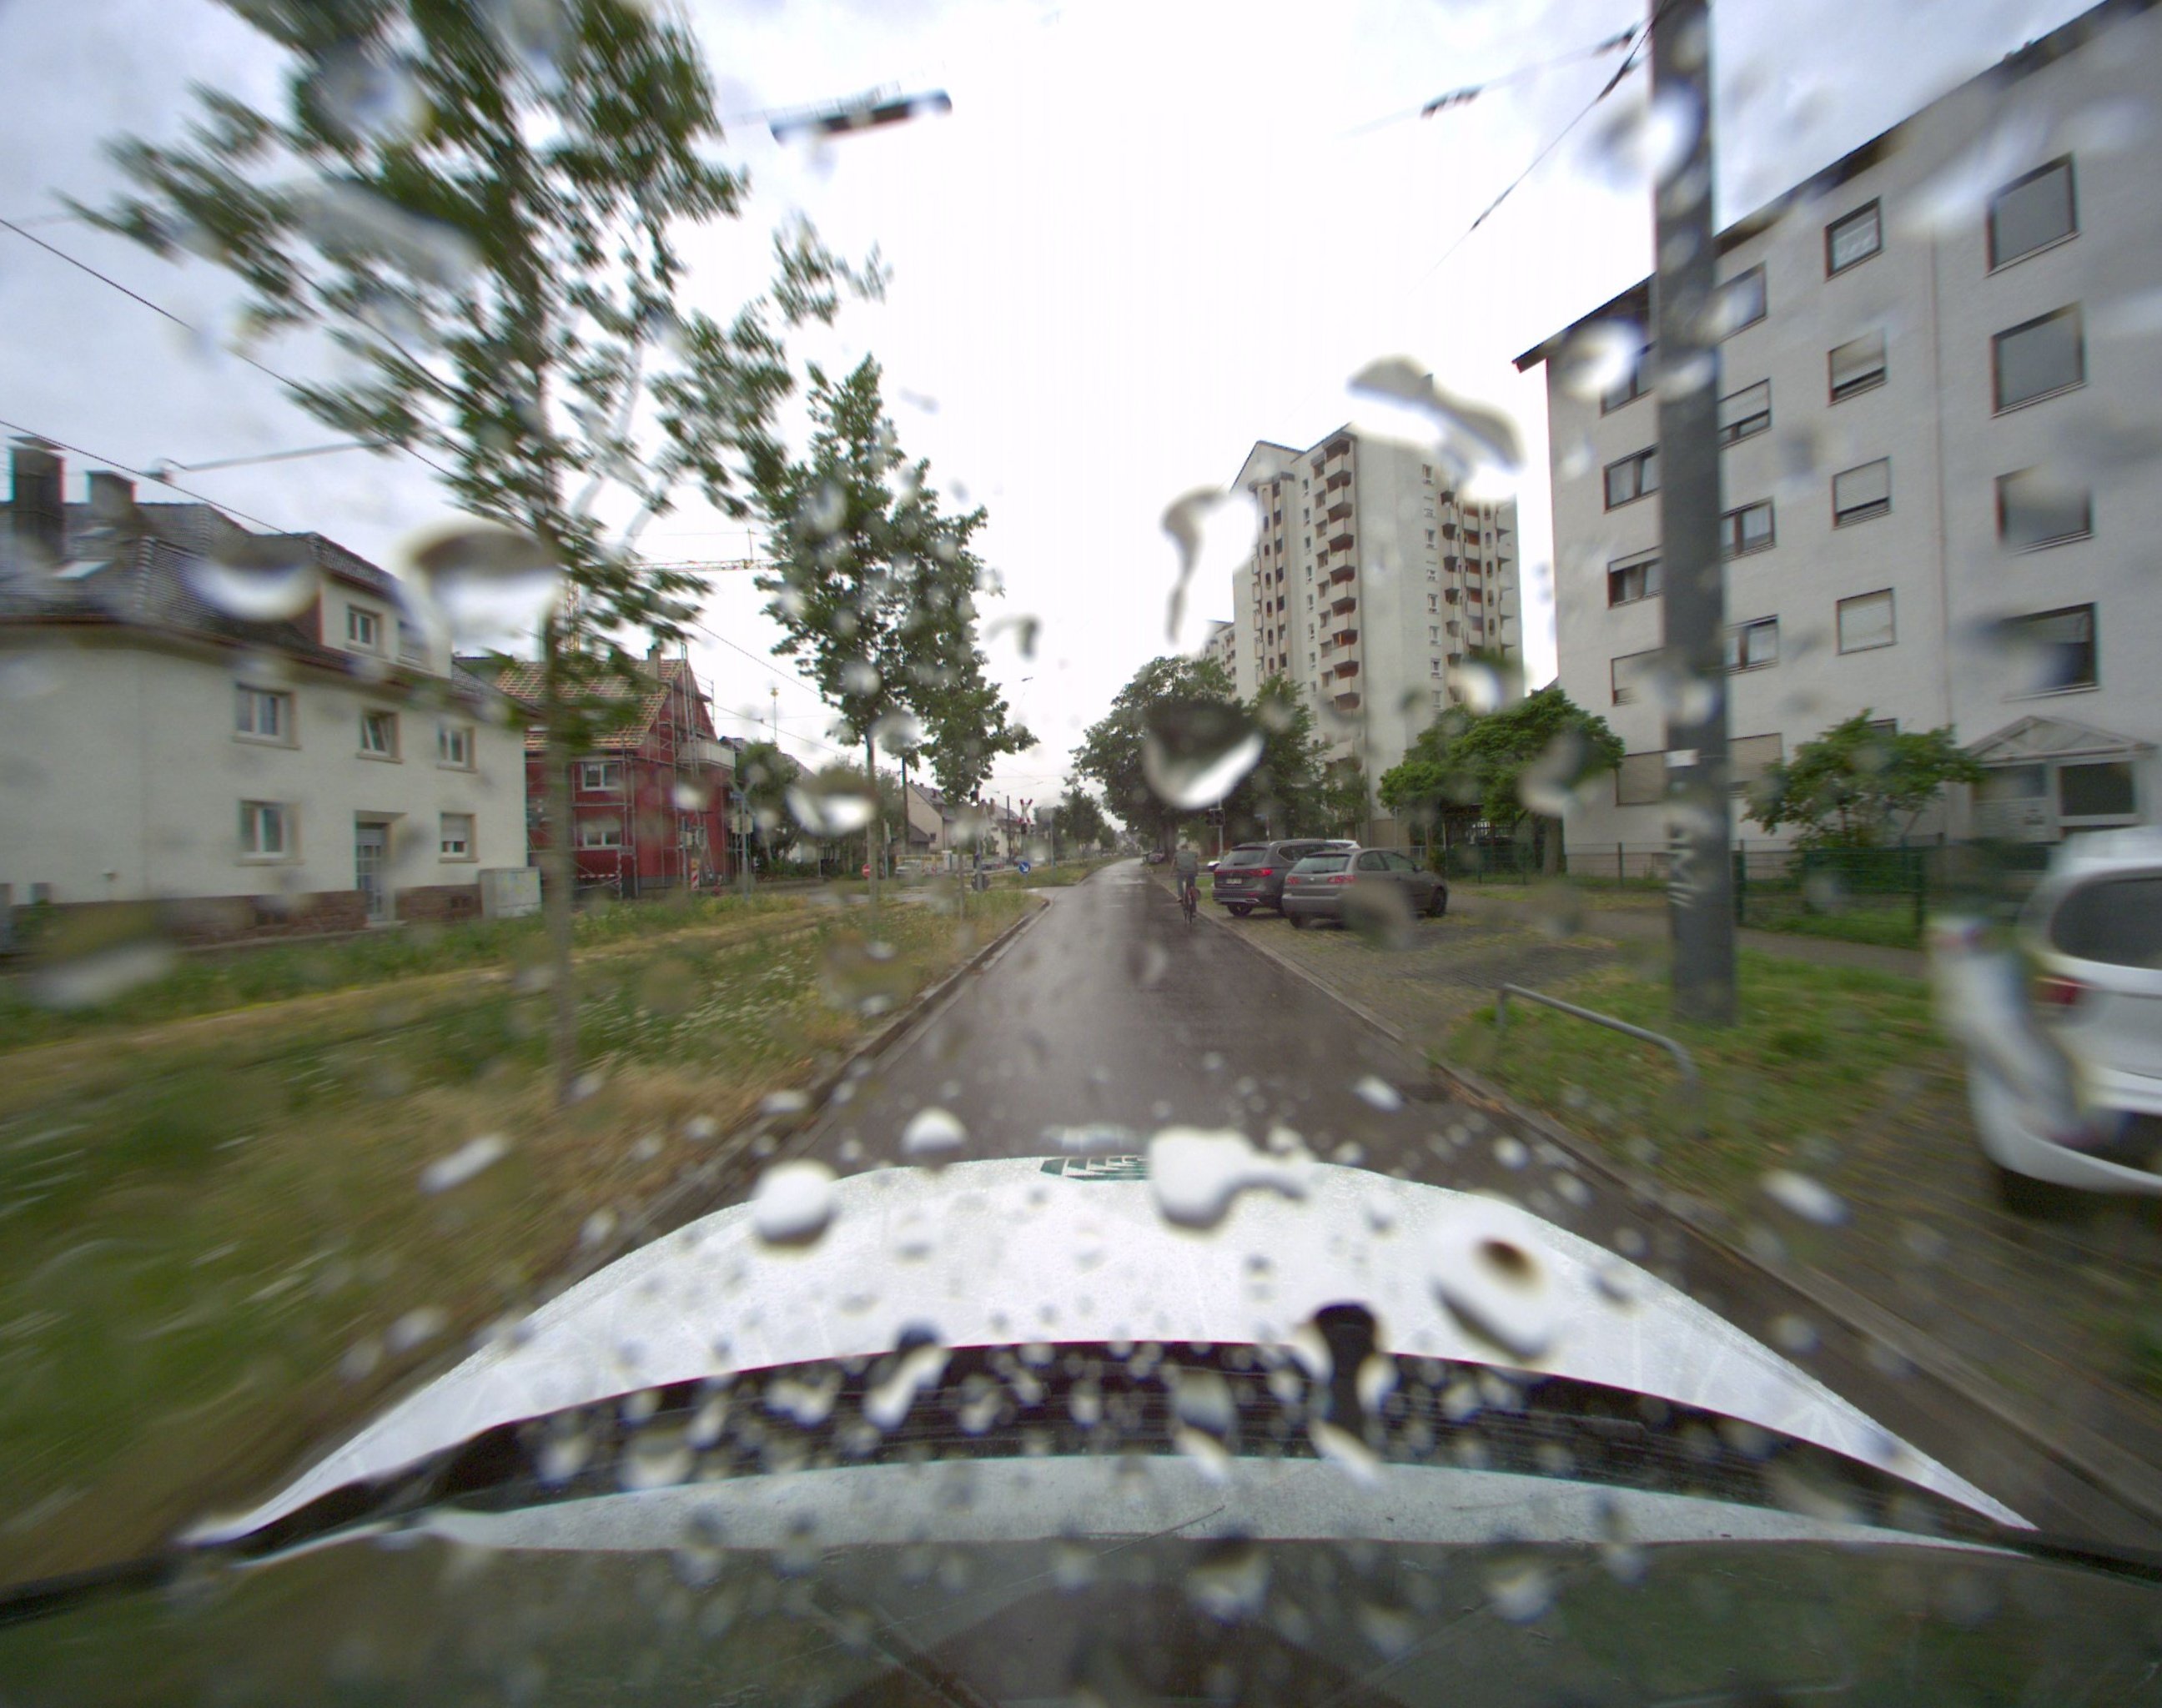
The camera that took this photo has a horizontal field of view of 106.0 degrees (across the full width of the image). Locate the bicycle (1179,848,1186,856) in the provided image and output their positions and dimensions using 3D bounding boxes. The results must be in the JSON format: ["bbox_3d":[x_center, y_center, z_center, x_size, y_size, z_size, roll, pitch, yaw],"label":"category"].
[{"bbox_3d":[14.137,-0.344,113.564,0.731,1.056,2.053,-3,0,3],"label":"bicycle"}]

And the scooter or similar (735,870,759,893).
[{"bbox_3d":[-17.687,1.445,43.133,0.390,1.180,1.289,-2,0,18],"label":"scooter or similar"}]

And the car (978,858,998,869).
[{"bbox_3d":[-11.197,1.139,98.016,1.656,1.244,4.076,0,0,4],"label":"car"}]

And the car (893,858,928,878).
[{"bbox_3d":[-14.389,1.151,68.932,1.702,1.542,4.428,0,0,5],"label":"car"}]

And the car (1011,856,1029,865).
[{"bbox_3d":[-9.240,0.994,124.141,1.886,1.244,4.696,0,0,7],"label":"car"}]

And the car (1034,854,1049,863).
[{"bbox_3d":[-7.049,0.830,146.389,1.886,1.469,4.696,0,0,7],"label":"car"}]

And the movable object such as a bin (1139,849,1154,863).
[{"bbox_3d":[7.335,0.241,91.018,1.128,1.457,1.393,-8,2,-17],"label":"movable object such as a bin"}]

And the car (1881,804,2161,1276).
[{"bbox_3d":[5.213,0.514,3.641,4.019,1.508,1.686,-3,-2,-37],"label":"car"}]

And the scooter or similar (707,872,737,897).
[{"bbox_3d":[-17.620,1.490,40.025,0.435,1.129,1.291,-2,0,33],"label":"scooter or similar"}]

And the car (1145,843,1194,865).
[{"bbox_3d":[8.425,-0.012,77.572,4.160,1.719,1.981,-5,1,-29],"label":"car"}]

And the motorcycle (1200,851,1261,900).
[{"bbox_3d":[4.528,0.642,24.633,1.787,1.336,0.682,-3,0,-34],"label":"motorcycle"}]

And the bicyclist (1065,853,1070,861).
[{"bbox_3d":[-3.000,0.736,184.867,1.014,1.685,1.093,-2,0,3],"label":"bicyclist"}]

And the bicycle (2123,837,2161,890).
[{"bbox_3d":[18.154,0.145,13.141,0.491,0.847,1.560,-3,0,-23],"label":"bicycle"}]

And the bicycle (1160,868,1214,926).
[{"bbox_3d":[2.275,0.893,17.790,0.807,1.096,2.517,-3,0,0],"label":"bicycle"}]

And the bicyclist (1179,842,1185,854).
[{"bbox_3d":[14.115,-0.868,113.470,0.731,1.594,0.945,-3,0,3],"label":"bicyclist"}]

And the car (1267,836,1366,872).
[{"bbox_3d":[12.819,-0.007,44.428,4.807,1.745,1.992,-2,0,-13],"label":"car"}]

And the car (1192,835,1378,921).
[{"bbox_3d":[4.768,0.471,18.701,4.372,1.651,1.836,-3,0,-39],"label":"car"}]

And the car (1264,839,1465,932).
[{"bbox_3d":[5.478,0.525,15.534,4.020,1.429,1.715,-3,0,-39],"label":"car"}]

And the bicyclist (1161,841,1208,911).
[{"bbox_3d":[2.238,0.463,17.704,0.807,1.432,1.060,-3,0,0],"label":"bicyclist"}]
